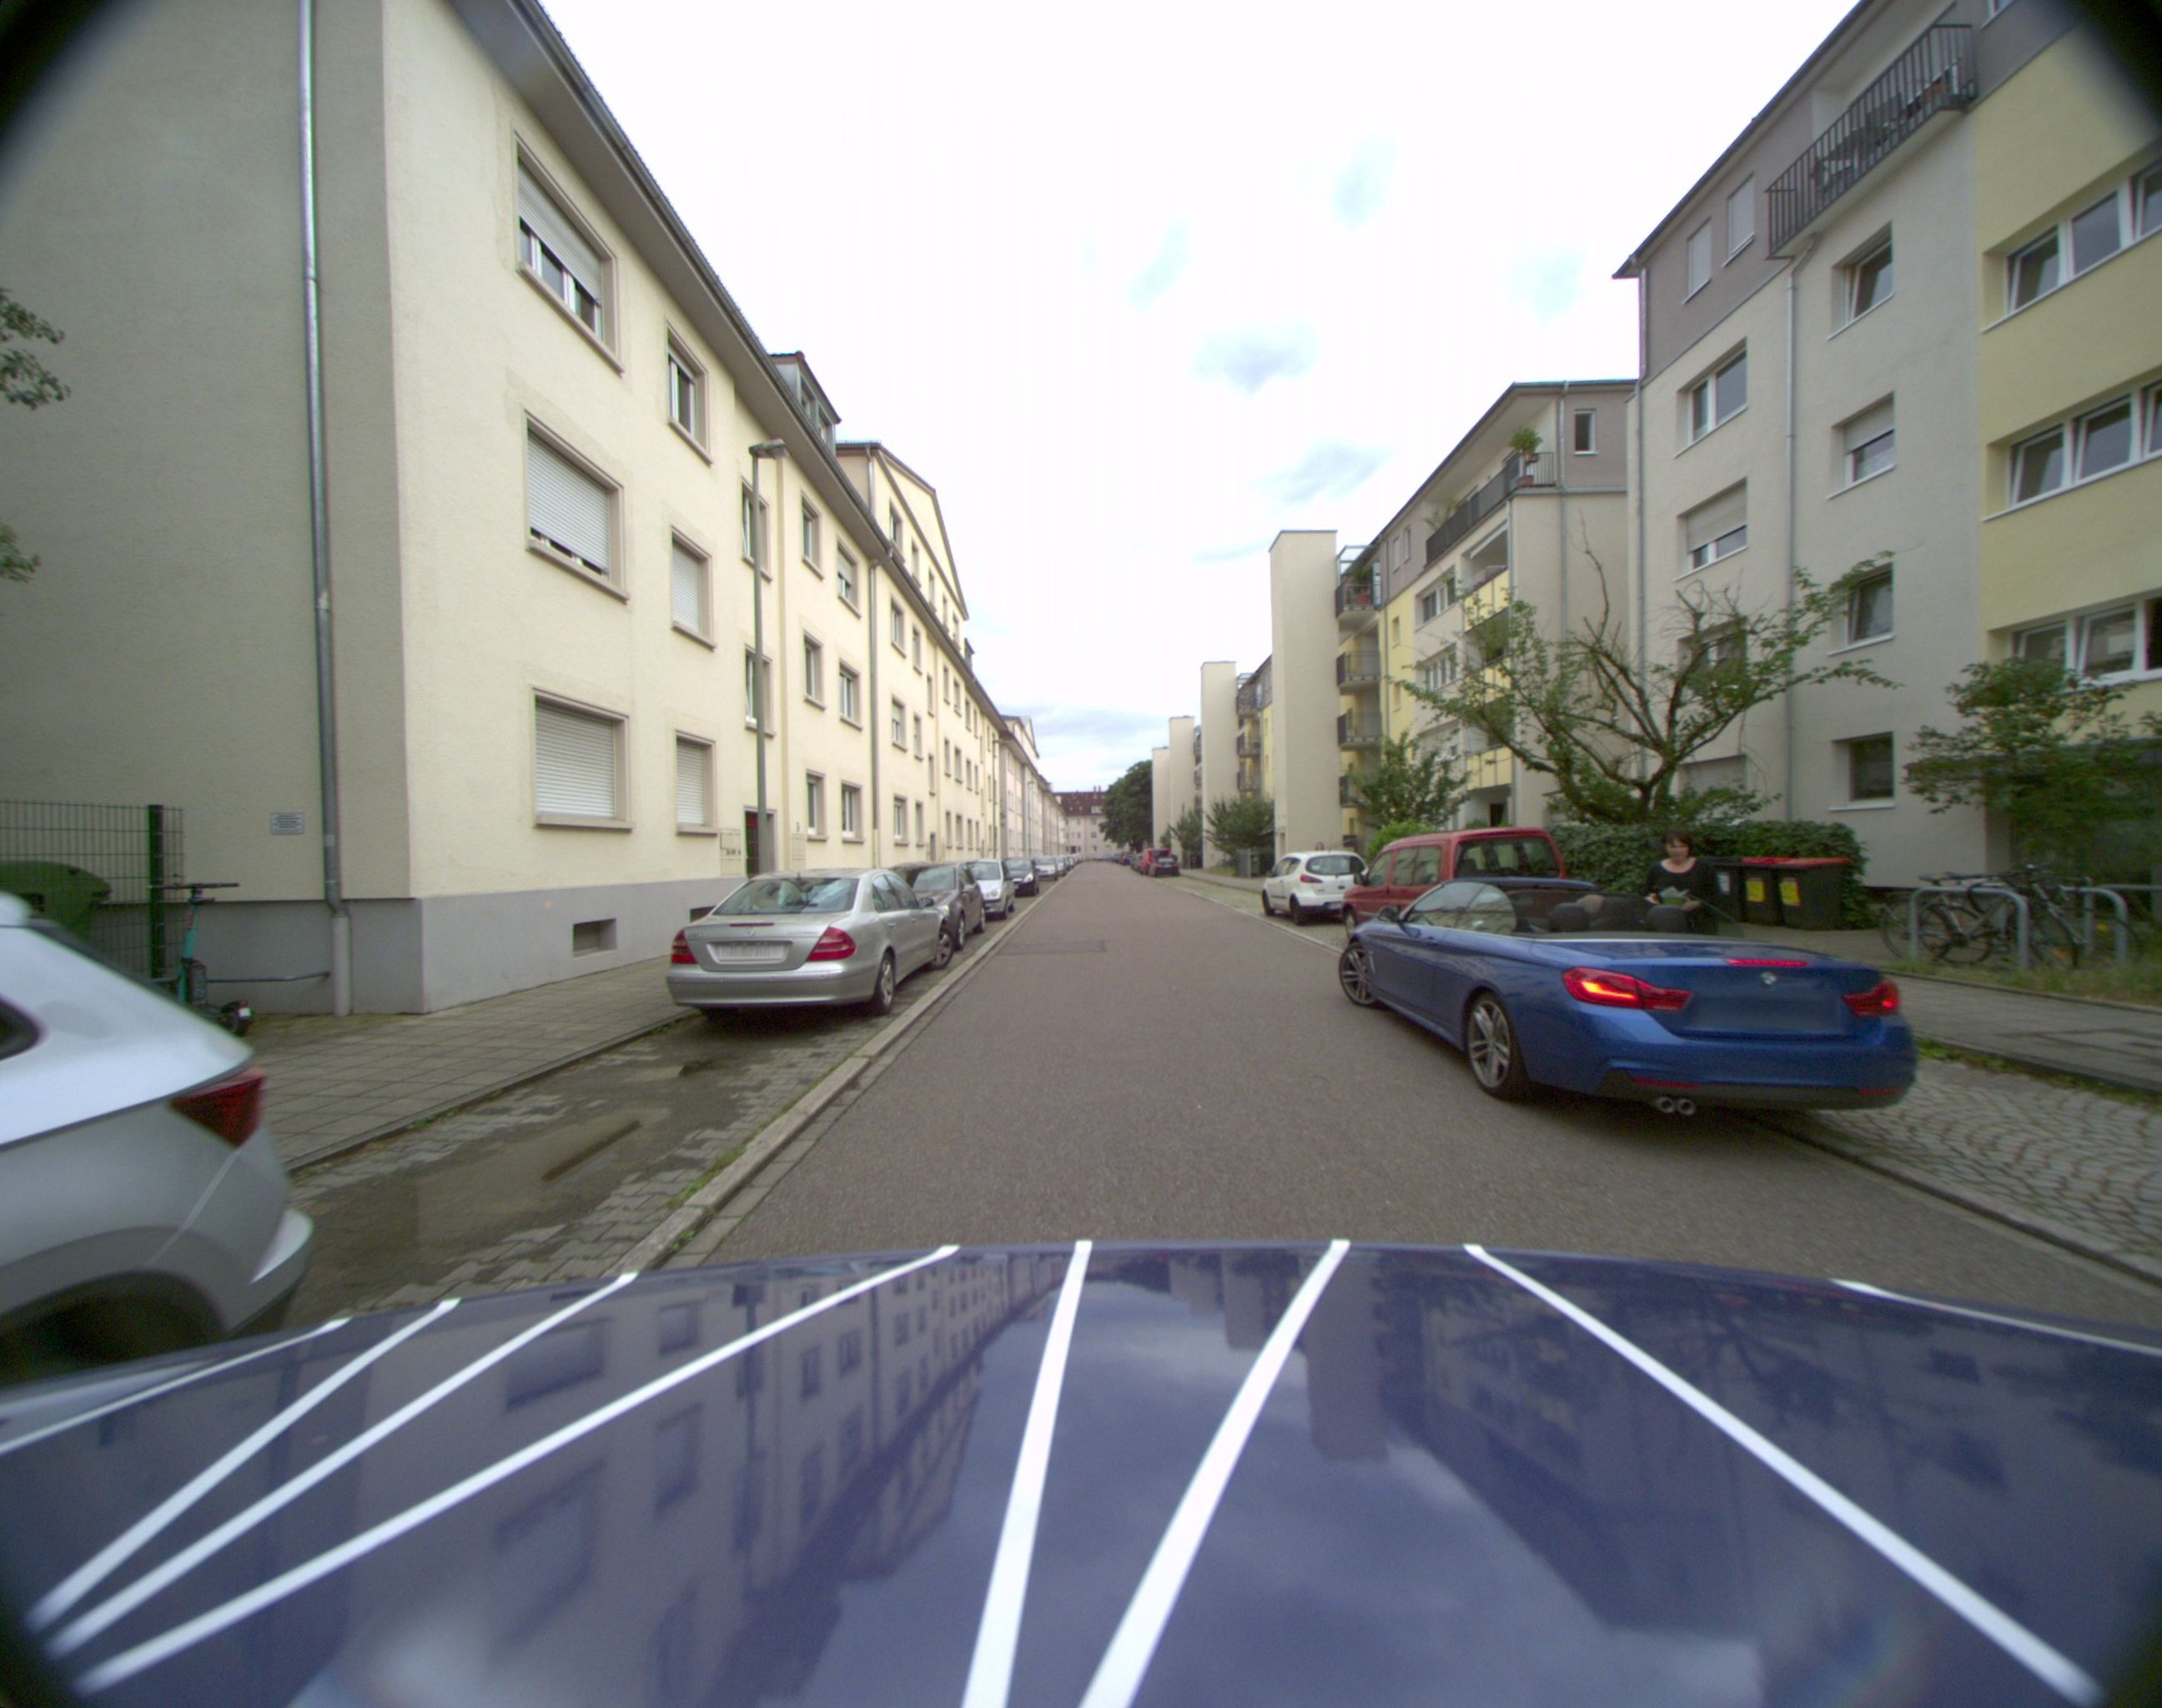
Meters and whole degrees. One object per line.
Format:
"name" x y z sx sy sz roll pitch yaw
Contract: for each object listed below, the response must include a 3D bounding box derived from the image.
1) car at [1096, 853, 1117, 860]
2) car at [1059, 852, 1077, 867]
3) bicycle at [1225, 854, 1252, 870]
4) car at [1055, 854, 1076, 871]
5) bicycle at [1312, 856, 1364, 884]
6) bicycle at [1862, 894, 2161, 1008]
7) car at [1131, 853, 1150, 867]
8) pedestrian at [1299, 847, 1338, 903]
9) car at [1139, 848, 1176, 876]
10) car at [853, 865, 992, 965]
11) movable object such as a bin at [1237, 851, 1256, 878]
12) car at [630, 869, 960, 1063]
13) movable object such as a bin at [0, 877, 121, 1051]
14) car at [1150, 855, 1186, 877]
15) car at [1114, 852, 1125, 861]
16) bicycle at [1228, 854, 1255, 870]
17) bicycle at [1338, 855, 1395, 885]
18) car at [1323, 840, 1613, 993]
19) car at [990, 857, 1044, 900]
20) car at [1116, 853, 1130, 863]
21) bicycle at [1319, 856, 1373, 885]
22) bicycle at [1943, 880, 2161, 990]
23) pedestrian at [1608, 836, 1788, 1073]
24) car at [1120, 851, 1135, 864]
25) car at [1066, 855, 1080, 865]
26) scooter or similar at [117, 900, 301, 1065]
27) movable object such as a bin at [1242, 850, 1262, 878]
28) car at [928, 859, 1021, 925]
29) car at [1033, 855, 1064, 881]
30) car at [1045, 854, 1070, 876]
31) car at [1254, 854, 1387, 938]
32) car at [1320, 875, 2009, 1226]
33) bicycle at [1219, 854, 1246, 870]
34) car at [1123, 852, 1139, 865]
"car" 5.717 0.580 167.870 4.545 1.551 1.565 -1 1 5
"car" -1.415 0.638 85.103 1.788 1.590 3.805 -2 0 2
"bicycle" 11.609 0.603 56.063 1.839 1.112 0.570 -1 0 3
"car" -1.472 0.774 72.283 1.729 1.460 4.264 -2 0 2
"bicycle" 10.894 0.672 32.196 2.029 1.135 0.623 -1 1 -9
"bicycle" 9.641 0.905 7.718 0.572 0.843 2.756 0 0 0
"car" 6.171 0.616 79.495 1.647 1.430 3.856 -3 0 1
"pedestrian" 7.025 0.606 22.541 0.802 1.600 0.946 -1 1 -3
"car" 5.731 0.568 57.582 2.157 1.942 4.921 -3 0 -1
"car" -2.719 0.991 13.865 1.607 1.468 3.869 -2 0 1
"movable object such as a bin" 9.091 0.564 41.710 0.805 1.421 1.288 -2 0 4
"car" -2.705 0.968 8.464 1.729 1.468 4.505 -1 0 3
"movable object such as a bin" -9.152 0.894 6.163 1.034 1.371 1.306 0 1 1
"car" 5.807 0.750 51.292 1.875 1.316 4.361 -3 0 0
"car" 7.342 0.530 145.037 2.000 1.566 4.210 -3 0 1
"bicycle" 11.647 0.606 55.087 1.838 1.112 0.571 -1 0 7
"bicycle" 11.520 0.648 30.689 2.028 1.135 0.623 -1 1 -2
"car" 5.315 0.740 11.250 1.962 1.760 4.361 -2 0 -1
"car" -2.409 0.877 29.350 1.729 1.508 4.060 -1 0 0
"car" 6.903 0.664 125.165 1.919 1.431 4.434 -3 0 -1
"bicycle" 11.007 0.674 31.571 2.029 1.135 0.623 -1 1 -9
"bicycle" 10.846 0.818 7.836 0.779 0.993 2.756 0 0 0
"pedestrian" 4.754 0.713 5.896 0.743 1.692 0.795 -1 1 -16
"car" 6.672 0.519 109.600 1.891 1.844 4.785 -1 0 0
"car" -1.107 0.810 107.489 1.792 1.455 4.040 0 0 1
"scooter or similar" -7.253 1.022 6.327 1.278 1.238 0.523 -1 0 18
"movable object such as a bin" 9.074 0.508 40.324 0.805 1.421 1.288 -2 0 5
"car" -2.586 0.893 19.343 1.853 1.441 3.832 -1 0 -1
"car" -1.974 0.807 46.966 1.729 1.508 4.060 -1 0 0
"car" -1.723 0.793 56.929 1.729 1.483 4.060 -1 0 1
"car" 5.173 0.832 16.942 1.725 1.561 3.870 -3 0 1
"car" 3.383 0.978 5.744 1.849 1.443 4.501 -2 0 2
"bicycle" 11.318 0.592 56.741 1.839 1.112 0.605 -2 1 0
"car" 6.407 0.555 97.605 1.804 1.617 4.472 -2 0 1
